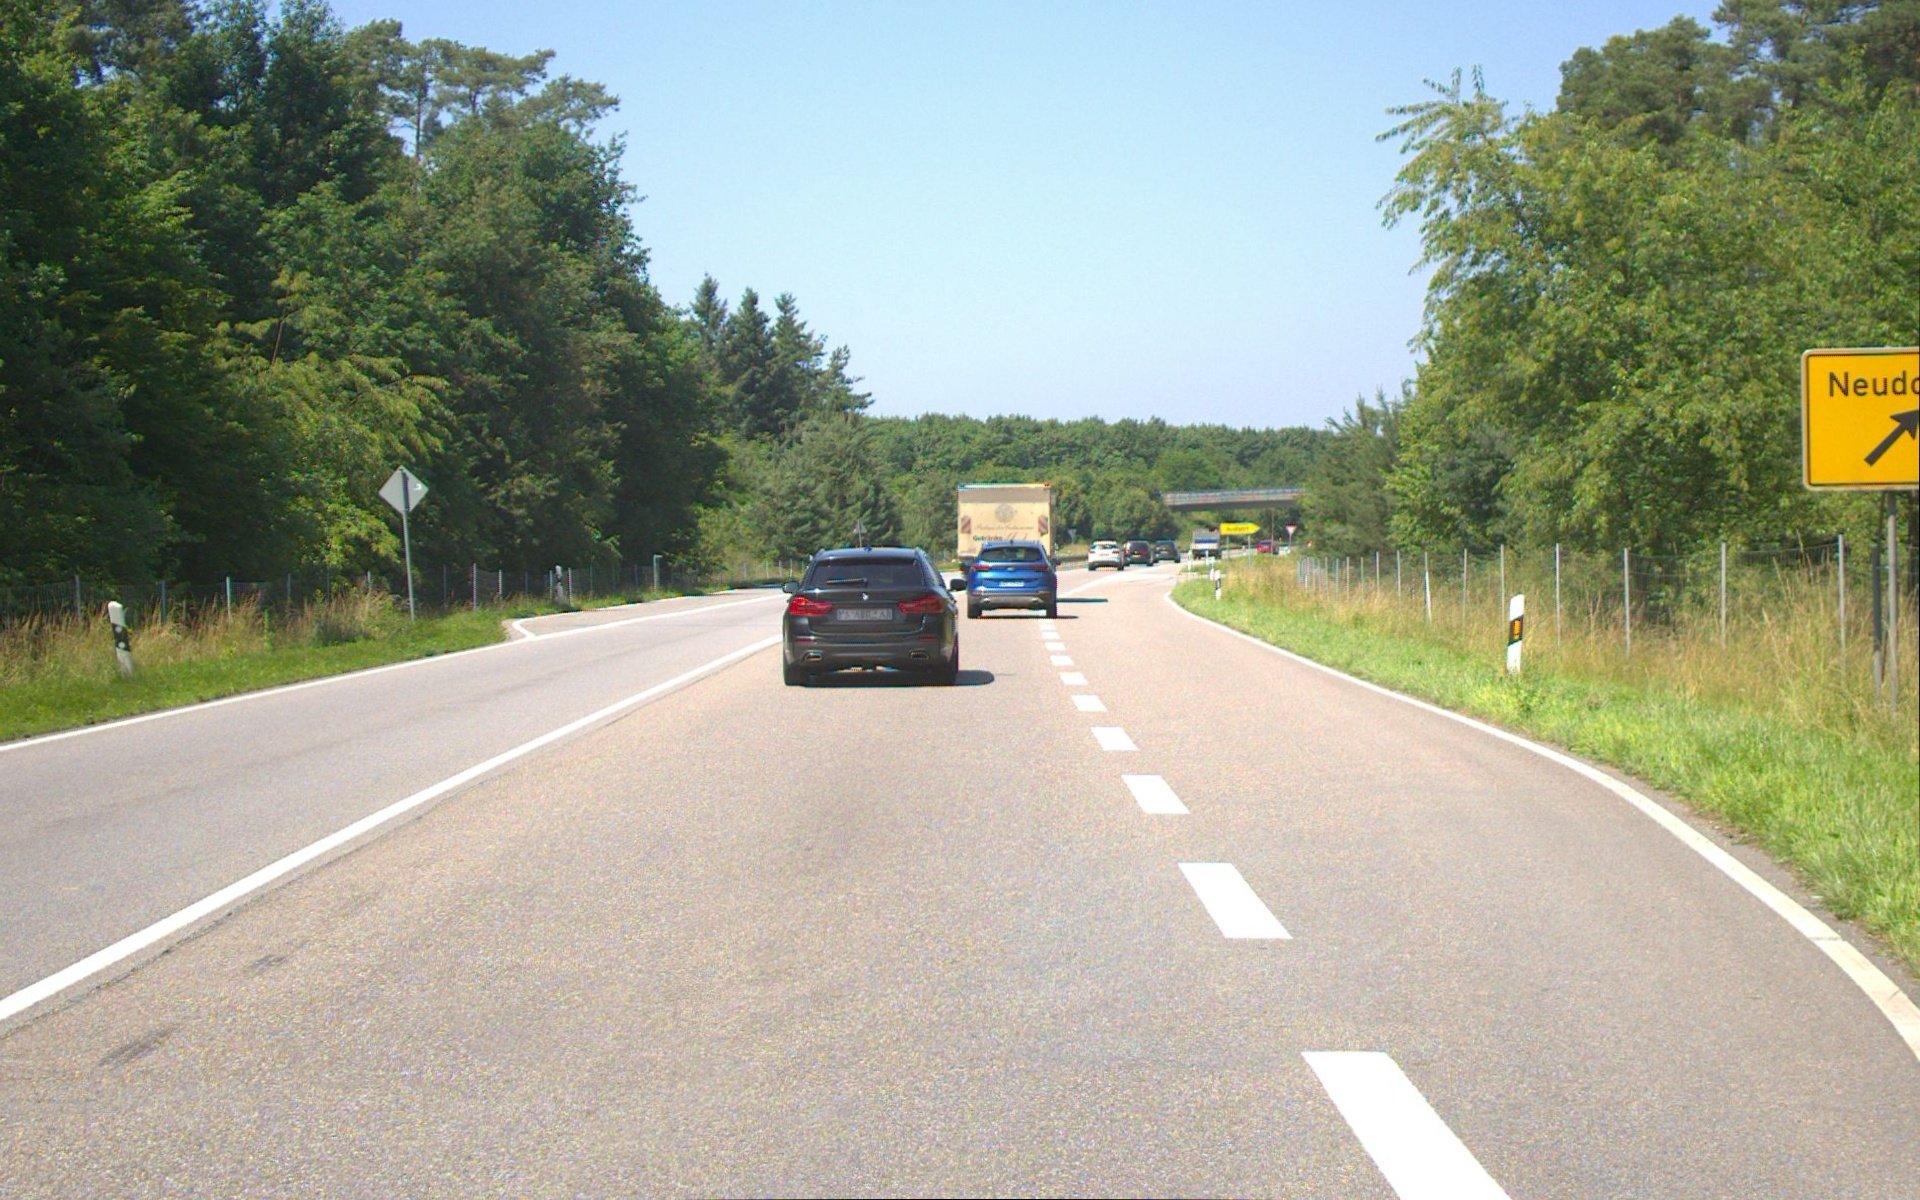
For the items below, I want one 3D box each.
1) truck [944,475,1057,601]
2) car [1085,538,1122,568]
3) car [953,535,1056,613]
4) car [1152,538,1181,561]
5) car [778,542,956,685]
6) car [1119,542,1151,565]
[{"bbox_3d":[1.184,-1.754,96.251,2.966,3.376,6.438,-1,1,2],"label":"truck"},{"bbox_3d":[8.106,-2.660,193.983,1.863,1.600,4.000,-2,1,0],"label":"car"},{"bbox_3d":[0.901,-0.575,71.915,1.947,1.536,4.000,-2,1,-2],"label":"car"},{"bbox_3d":[15.009,-3.661,249.650,1.994,1.631,4.000,-1,1,4],"label":"car"},{"bbox_3d":[-1.077,0.108,38.053,1.820,1.465,4.001,-1,1,-3],"label":"car"},{"bbox_3d":[11.359,-3.022,223.118,1.994,1.415,4.000,0,1,3],"label":"car"}]
